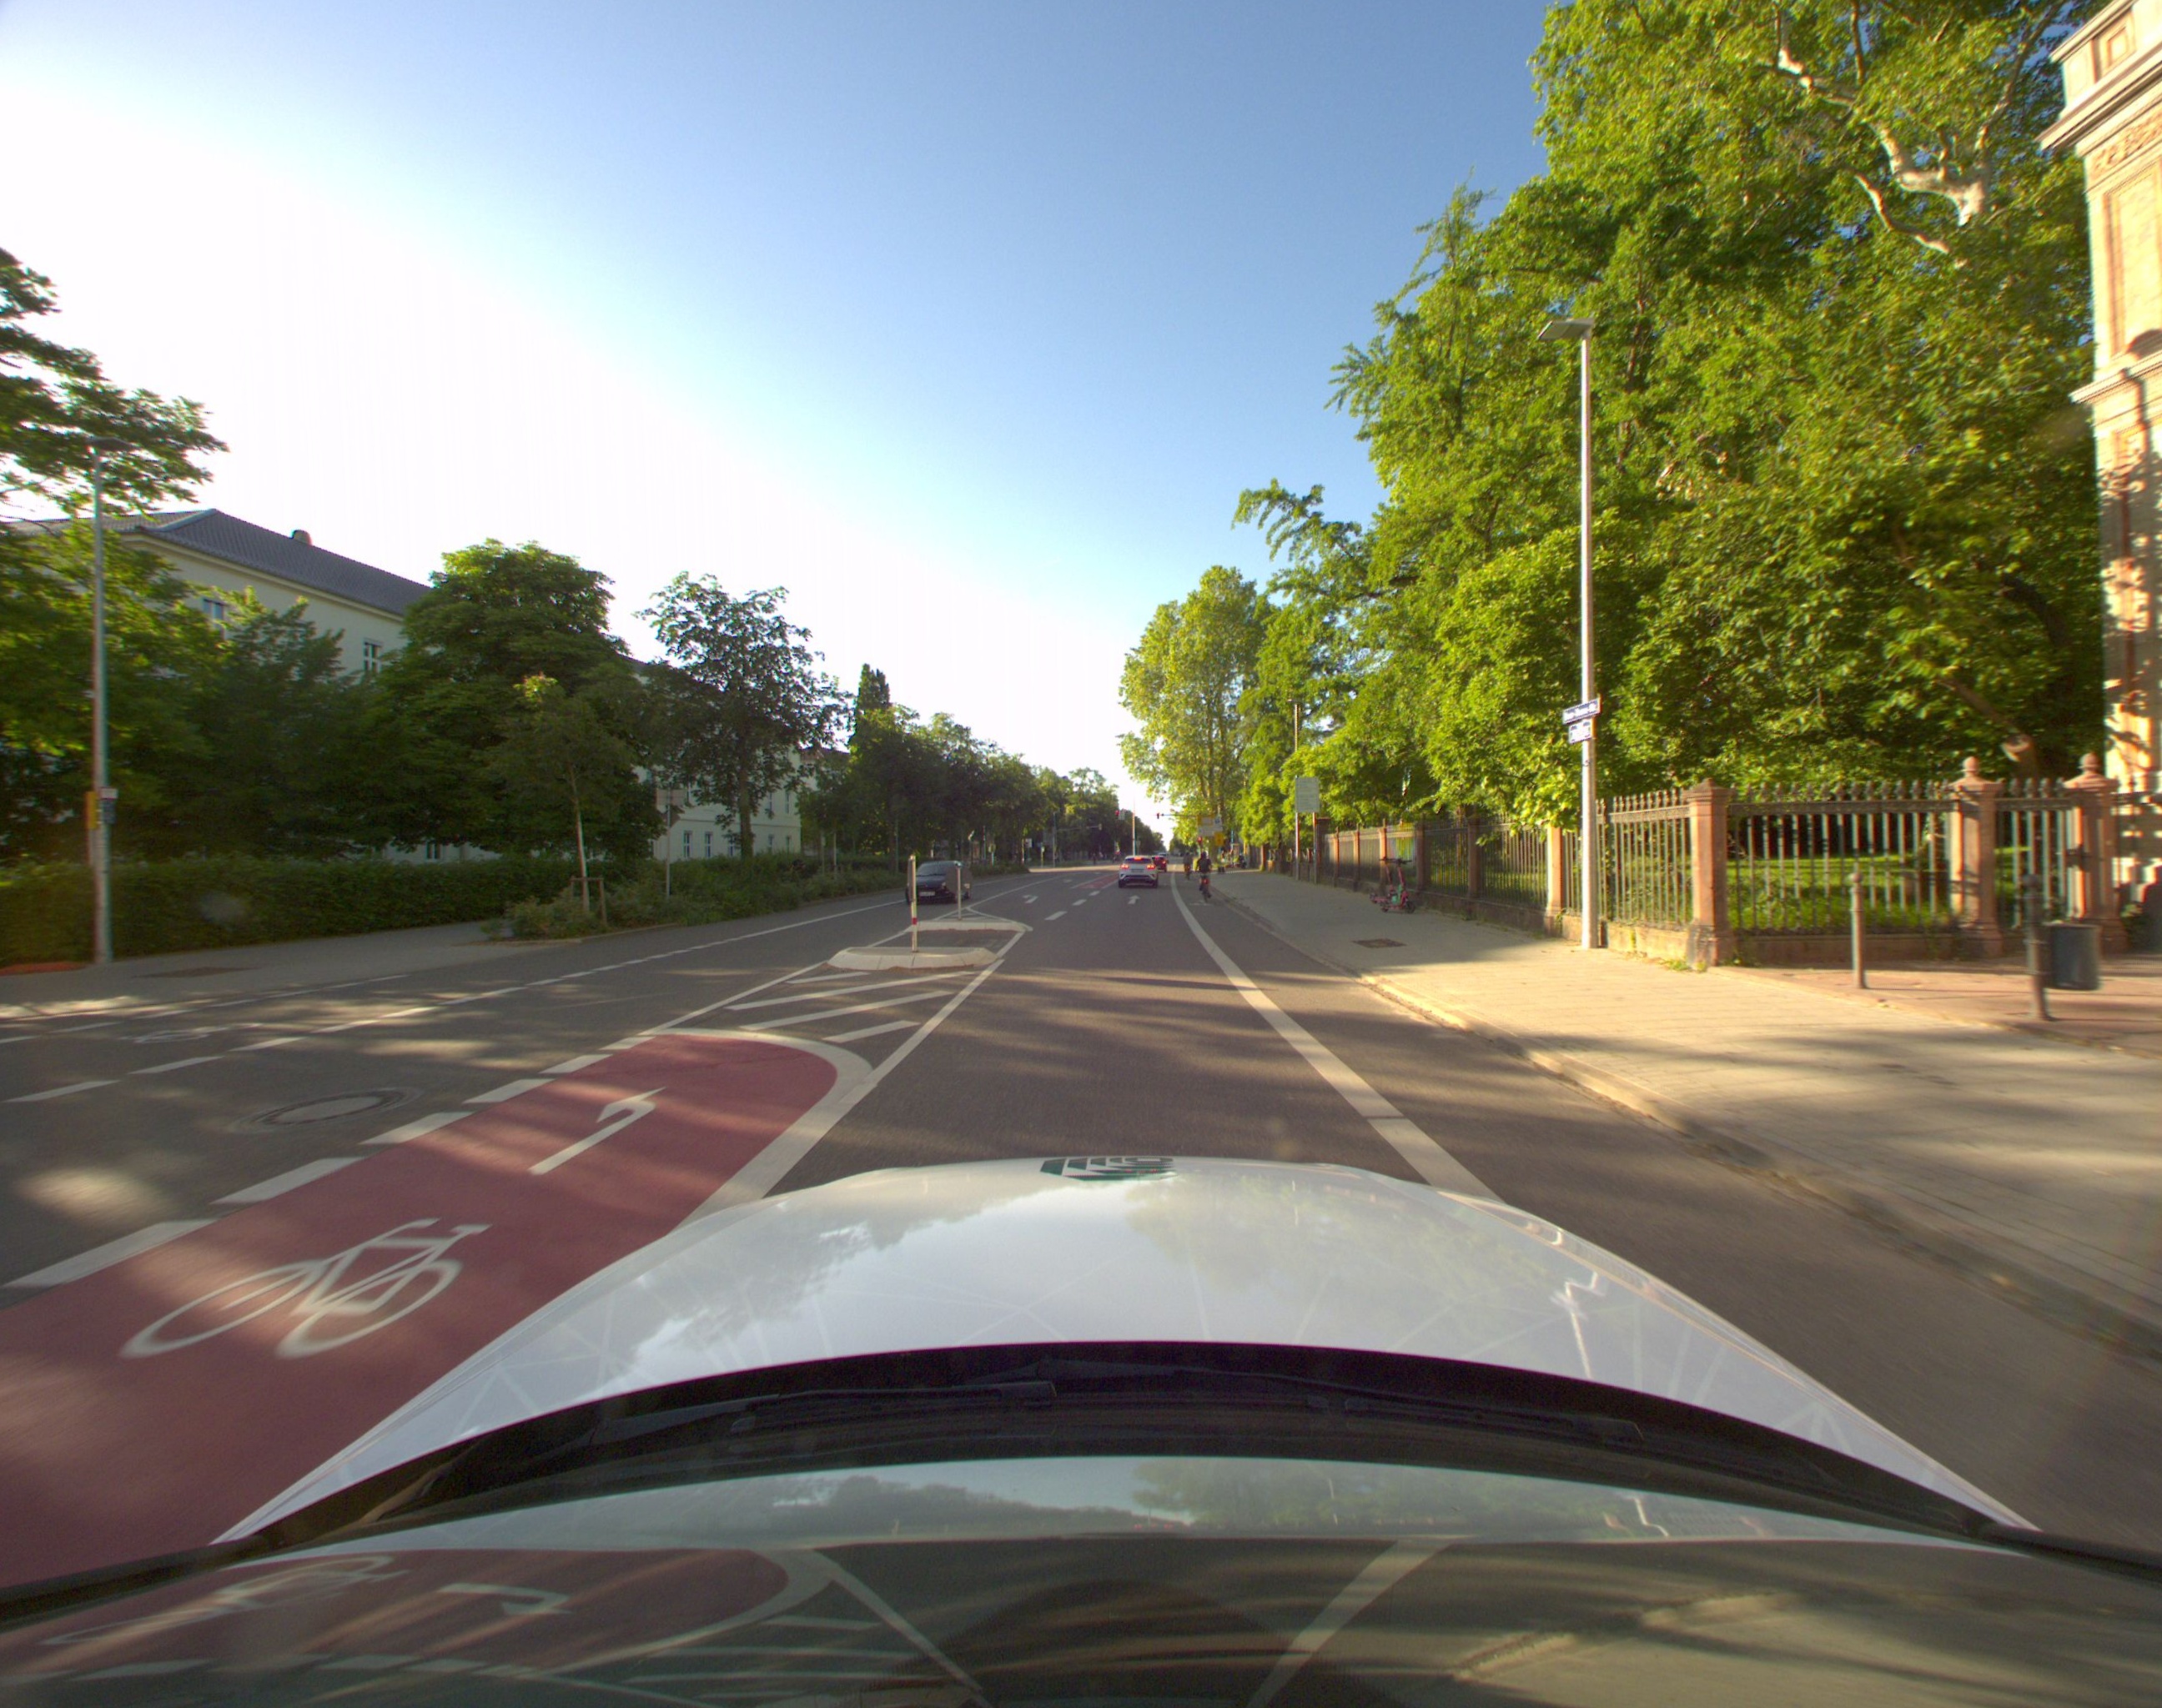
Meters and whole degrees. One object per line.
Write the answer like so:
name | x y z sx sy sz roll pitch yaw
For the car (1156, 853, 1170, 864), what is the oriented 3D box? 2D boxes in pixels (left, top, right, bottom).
car | 11.903 0.638 117.894 1.726 1.546 4.011 -2 0 9

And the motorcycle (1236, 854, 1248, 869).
motorcycle | 13.290 0.645 67.166 0.658 1.167 2.331 -4 0 6

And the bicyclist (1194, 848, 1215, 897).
bicyclist | 4.241 0.624 28.026 0.633 1.614 1.286 0 0 6

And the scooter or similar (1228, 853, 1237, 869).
scooter or similar | 13.729 0.606 73.943 0.563 1.382 1.859 -2 0 5

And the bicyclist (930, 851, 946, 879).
bicyclist | -8.017 0.621 45.620 0.626 1.522 0.725 -4 0 3

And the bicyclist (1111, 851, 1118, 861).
bicyclist | 5.833 0.376 142.394 0.950 1.705 1.235 -2 0 7

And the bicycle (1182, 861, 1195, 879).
bicycle | 6.312 0.944 47.863 0.749 1.026 1.872 0 -1 6

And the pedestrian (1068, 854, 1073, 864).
pedestrian | -1.828 0.874 142.830 0.647 1.888 0.664 -2 0 8

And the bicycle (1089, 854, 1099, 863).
bicycle | 1.951 0.670 120.859 1.095 1.255 2.785 -2 0 8

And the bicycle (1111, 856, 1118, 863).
bicycle | 5.819 0.935 142.456 0.958 1.181 2.957 -2 0 8

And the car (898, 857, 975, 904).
car | -4.930 0.874 28.290 1.751 1.459 4.003 -2 0 3

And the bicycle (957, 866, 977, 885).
bicycle | -6.099 1.155 43.606 0.614 0.921 2.181 -2 0 3

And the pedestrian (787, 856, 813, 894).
pedestrian | -14.136 1.028 40.984 0.852 1.851 1.002 -2 0 4

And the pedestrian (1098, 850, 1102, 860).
pedestrian | 3.848 0.297 165.407 0.653 2.013 0.833 -2 0 4

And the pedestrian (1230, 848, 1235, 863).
pedestrian | 19.336 0.190 103.766 0.479 1.792 0.433 -4 3 12

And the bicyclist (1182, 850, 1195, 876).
bicyclist | 6.306 0.521 47.888 0.743 1.537 0.971 -1 0 6

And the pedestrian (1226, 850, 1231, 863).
pedestrian | 18.595 0.331 102.916 0.479 1.640 0.433 -5 3 12

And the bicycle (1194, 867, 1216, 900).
bicycle | 4.255 0.993 28.009 0.640 1.025 2.216 0 0 6

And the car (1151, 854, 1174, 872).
car | 7.365 0.779 73.482 1.919 1.533 4.007 -2 0 6

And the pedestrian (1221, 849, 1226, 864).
pedestrian | 18.004 0.290 102.952 0.479 1.792 0.433 -4 3 12

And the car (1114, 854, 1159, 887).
car | 2.707 0.755 39.094 1.984 1.453 4.006 -2 0 5

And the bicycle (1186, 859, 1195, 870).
bicycle | 10.081 0.978 75.102 0.749 1.026 1.872 0 -1 6

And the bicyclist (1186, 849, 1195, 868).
bicyclist | 10.080 0.423 75.054 0.746 1.750 0.844 0 0 5

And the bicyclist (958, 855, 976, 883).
bicyclist | -6.109 0.775 43.631 0.643 1.418 0.971 -4 0 3

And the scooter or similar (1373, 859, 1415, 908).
scooter or similar | 7.469 0.680 19.471 0.479 1.122 1.337 -2 0 2

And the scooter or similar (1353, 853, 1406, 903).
scooter or similar | 7.810 0.622 21.360 0.548 1.243 1.551 -2 0 -12

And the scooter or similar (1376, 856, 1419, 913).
scooter or similar | 7.167 0.678 18.486 0.297 1.240 1.157 -2 0 -10

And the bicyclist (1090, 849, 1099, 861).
bicyclist | 1.970 0.125 121.081 1.086 1.754 1.100 -2 0 8
